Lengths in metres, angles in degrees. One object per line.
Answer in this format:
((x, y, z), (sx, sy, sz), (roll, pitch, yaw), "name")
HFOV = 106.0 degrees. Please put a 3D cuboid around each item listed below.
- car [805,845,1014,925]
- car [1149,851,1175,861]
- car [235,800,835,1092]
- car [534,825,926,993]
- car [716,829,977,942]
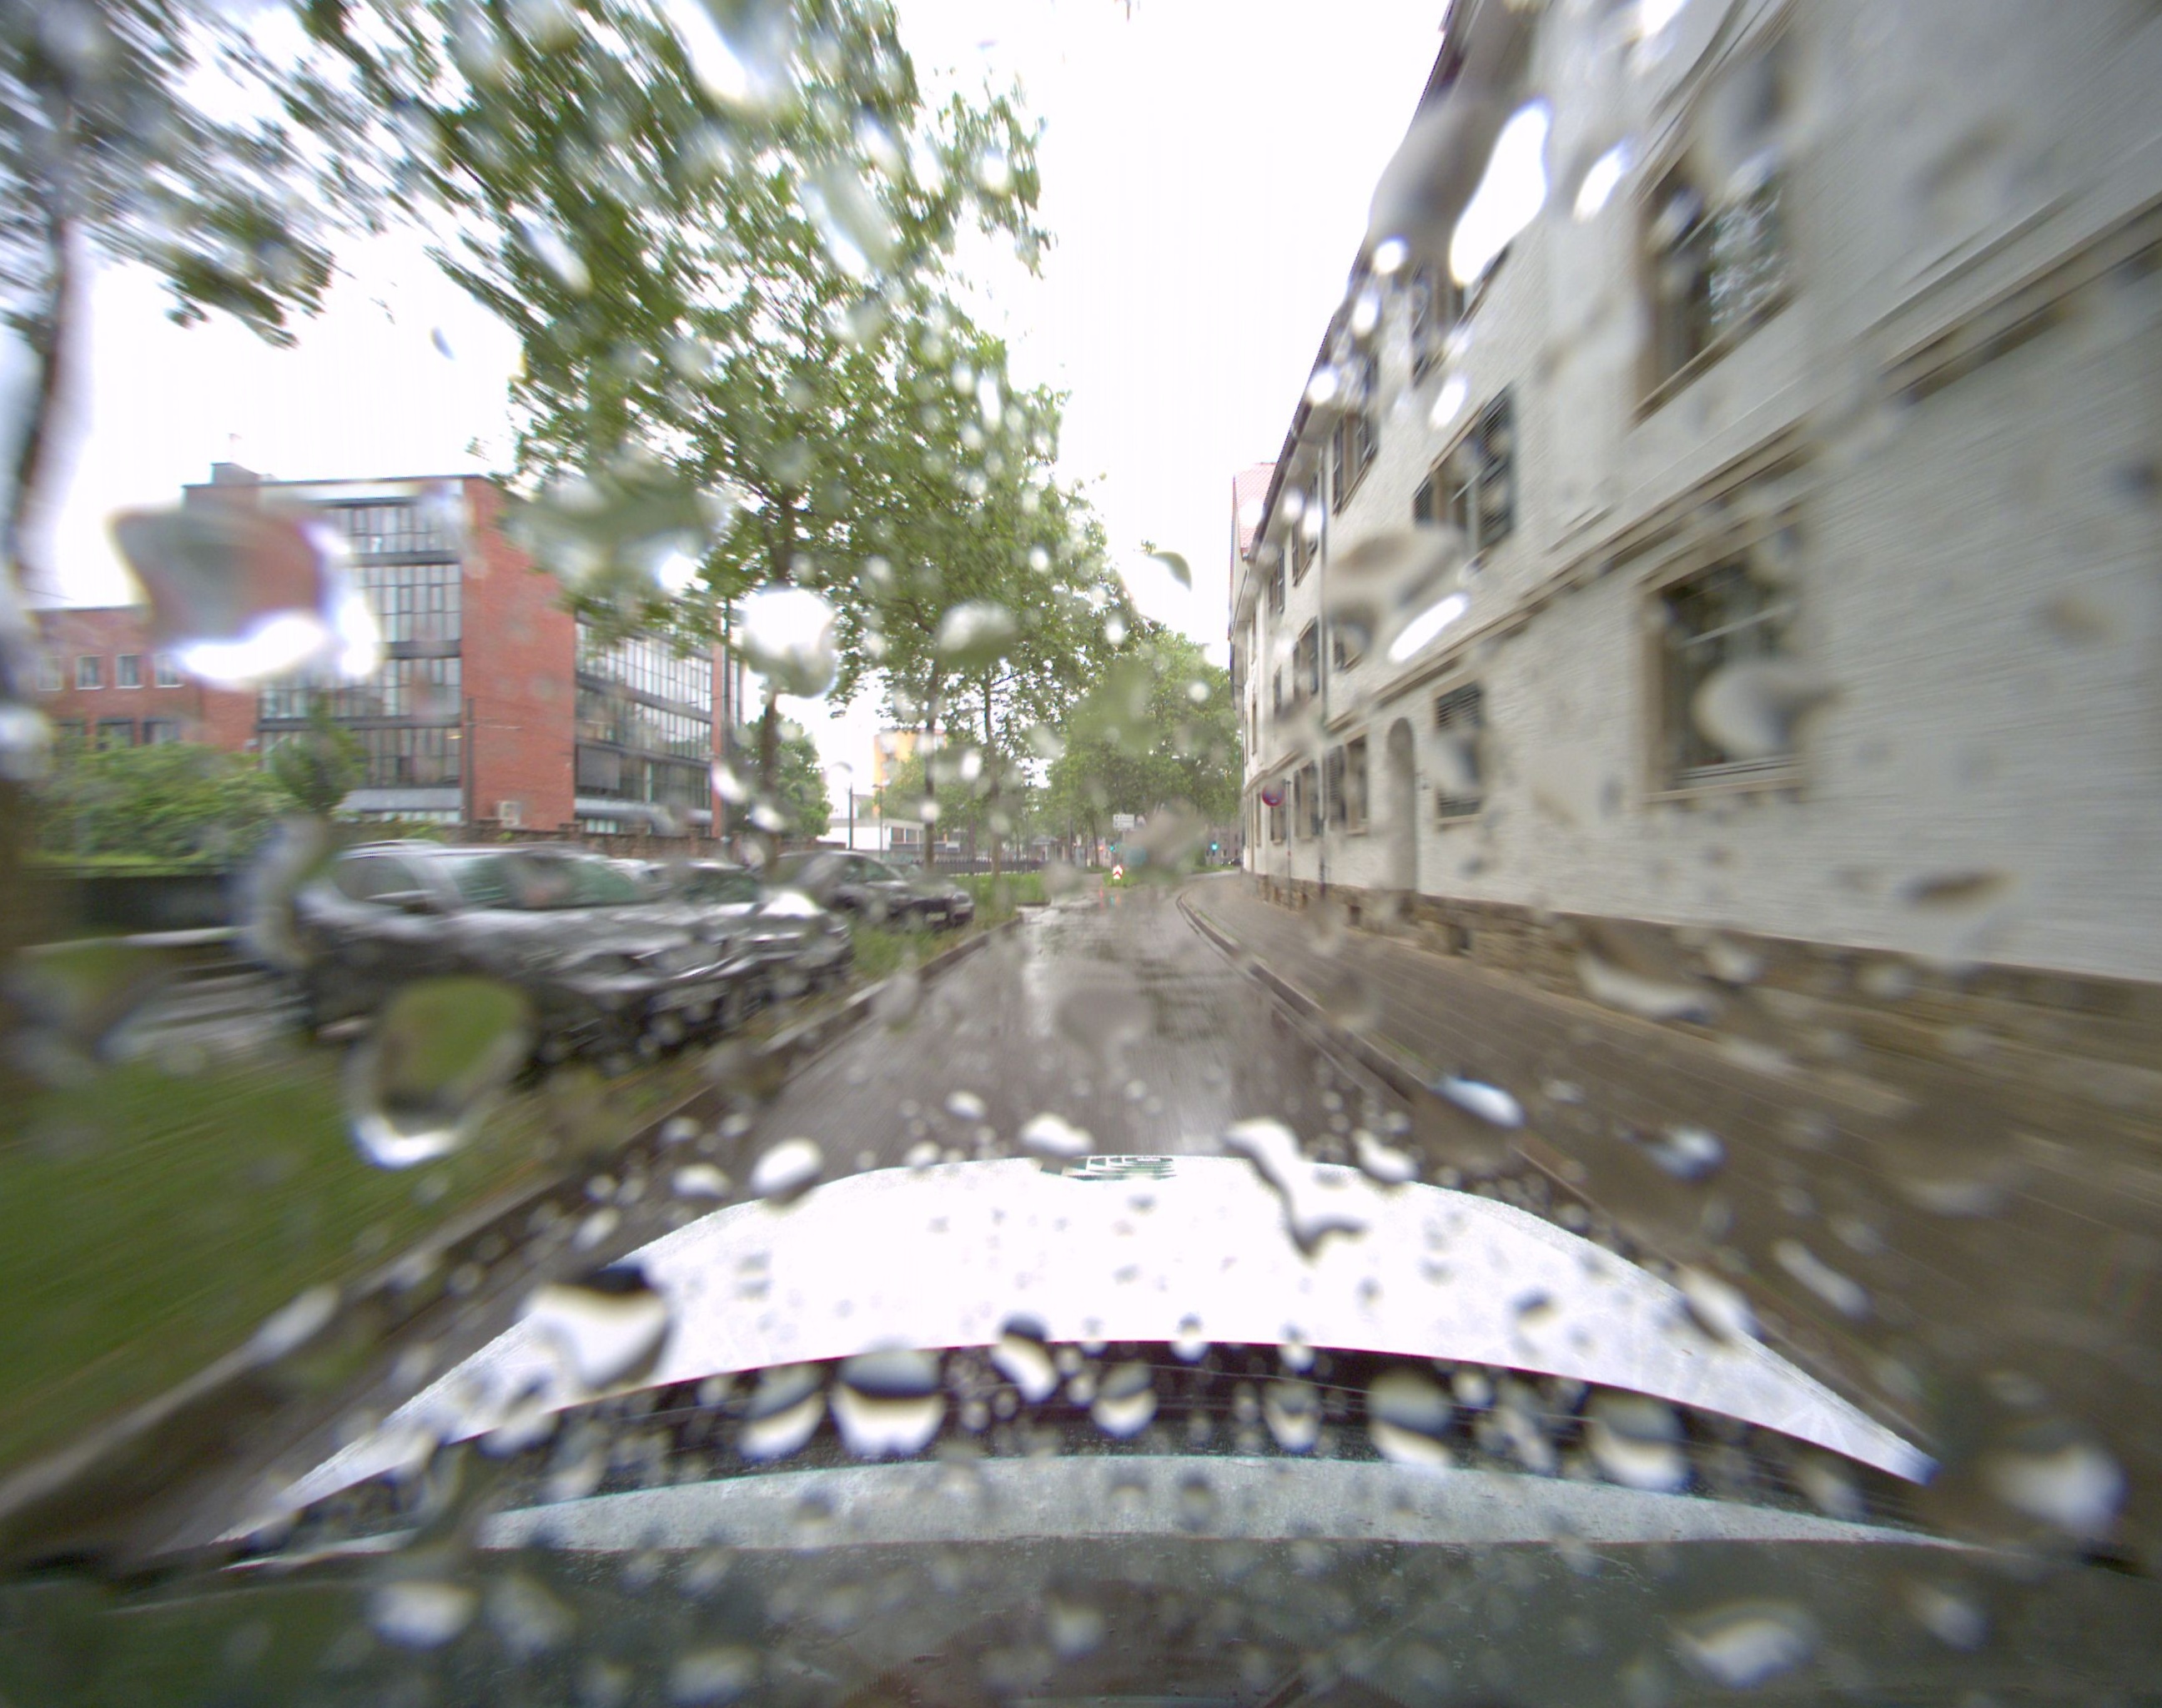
((-3.849, 0.675, 18.110), (4.308, 1.512, 1.973), (-2, 2, 32), "car")
((13.179, 0.299, 132.743), (4.021, 1.597, 1.976), (1, 0, -41), "car")
((-4.290, 0.499, 6.319), (4.416, 1.597, 1.935), (0, 1, 27), "car")
((-4.151, 0.536, 9.397), (4.501, 1.521, 1.936), (-2, 0, 33), "car")
((-4.315, 0.541, 14.787), (4.473, 1.714, 1.973), (-2, 2, 32), "car")
